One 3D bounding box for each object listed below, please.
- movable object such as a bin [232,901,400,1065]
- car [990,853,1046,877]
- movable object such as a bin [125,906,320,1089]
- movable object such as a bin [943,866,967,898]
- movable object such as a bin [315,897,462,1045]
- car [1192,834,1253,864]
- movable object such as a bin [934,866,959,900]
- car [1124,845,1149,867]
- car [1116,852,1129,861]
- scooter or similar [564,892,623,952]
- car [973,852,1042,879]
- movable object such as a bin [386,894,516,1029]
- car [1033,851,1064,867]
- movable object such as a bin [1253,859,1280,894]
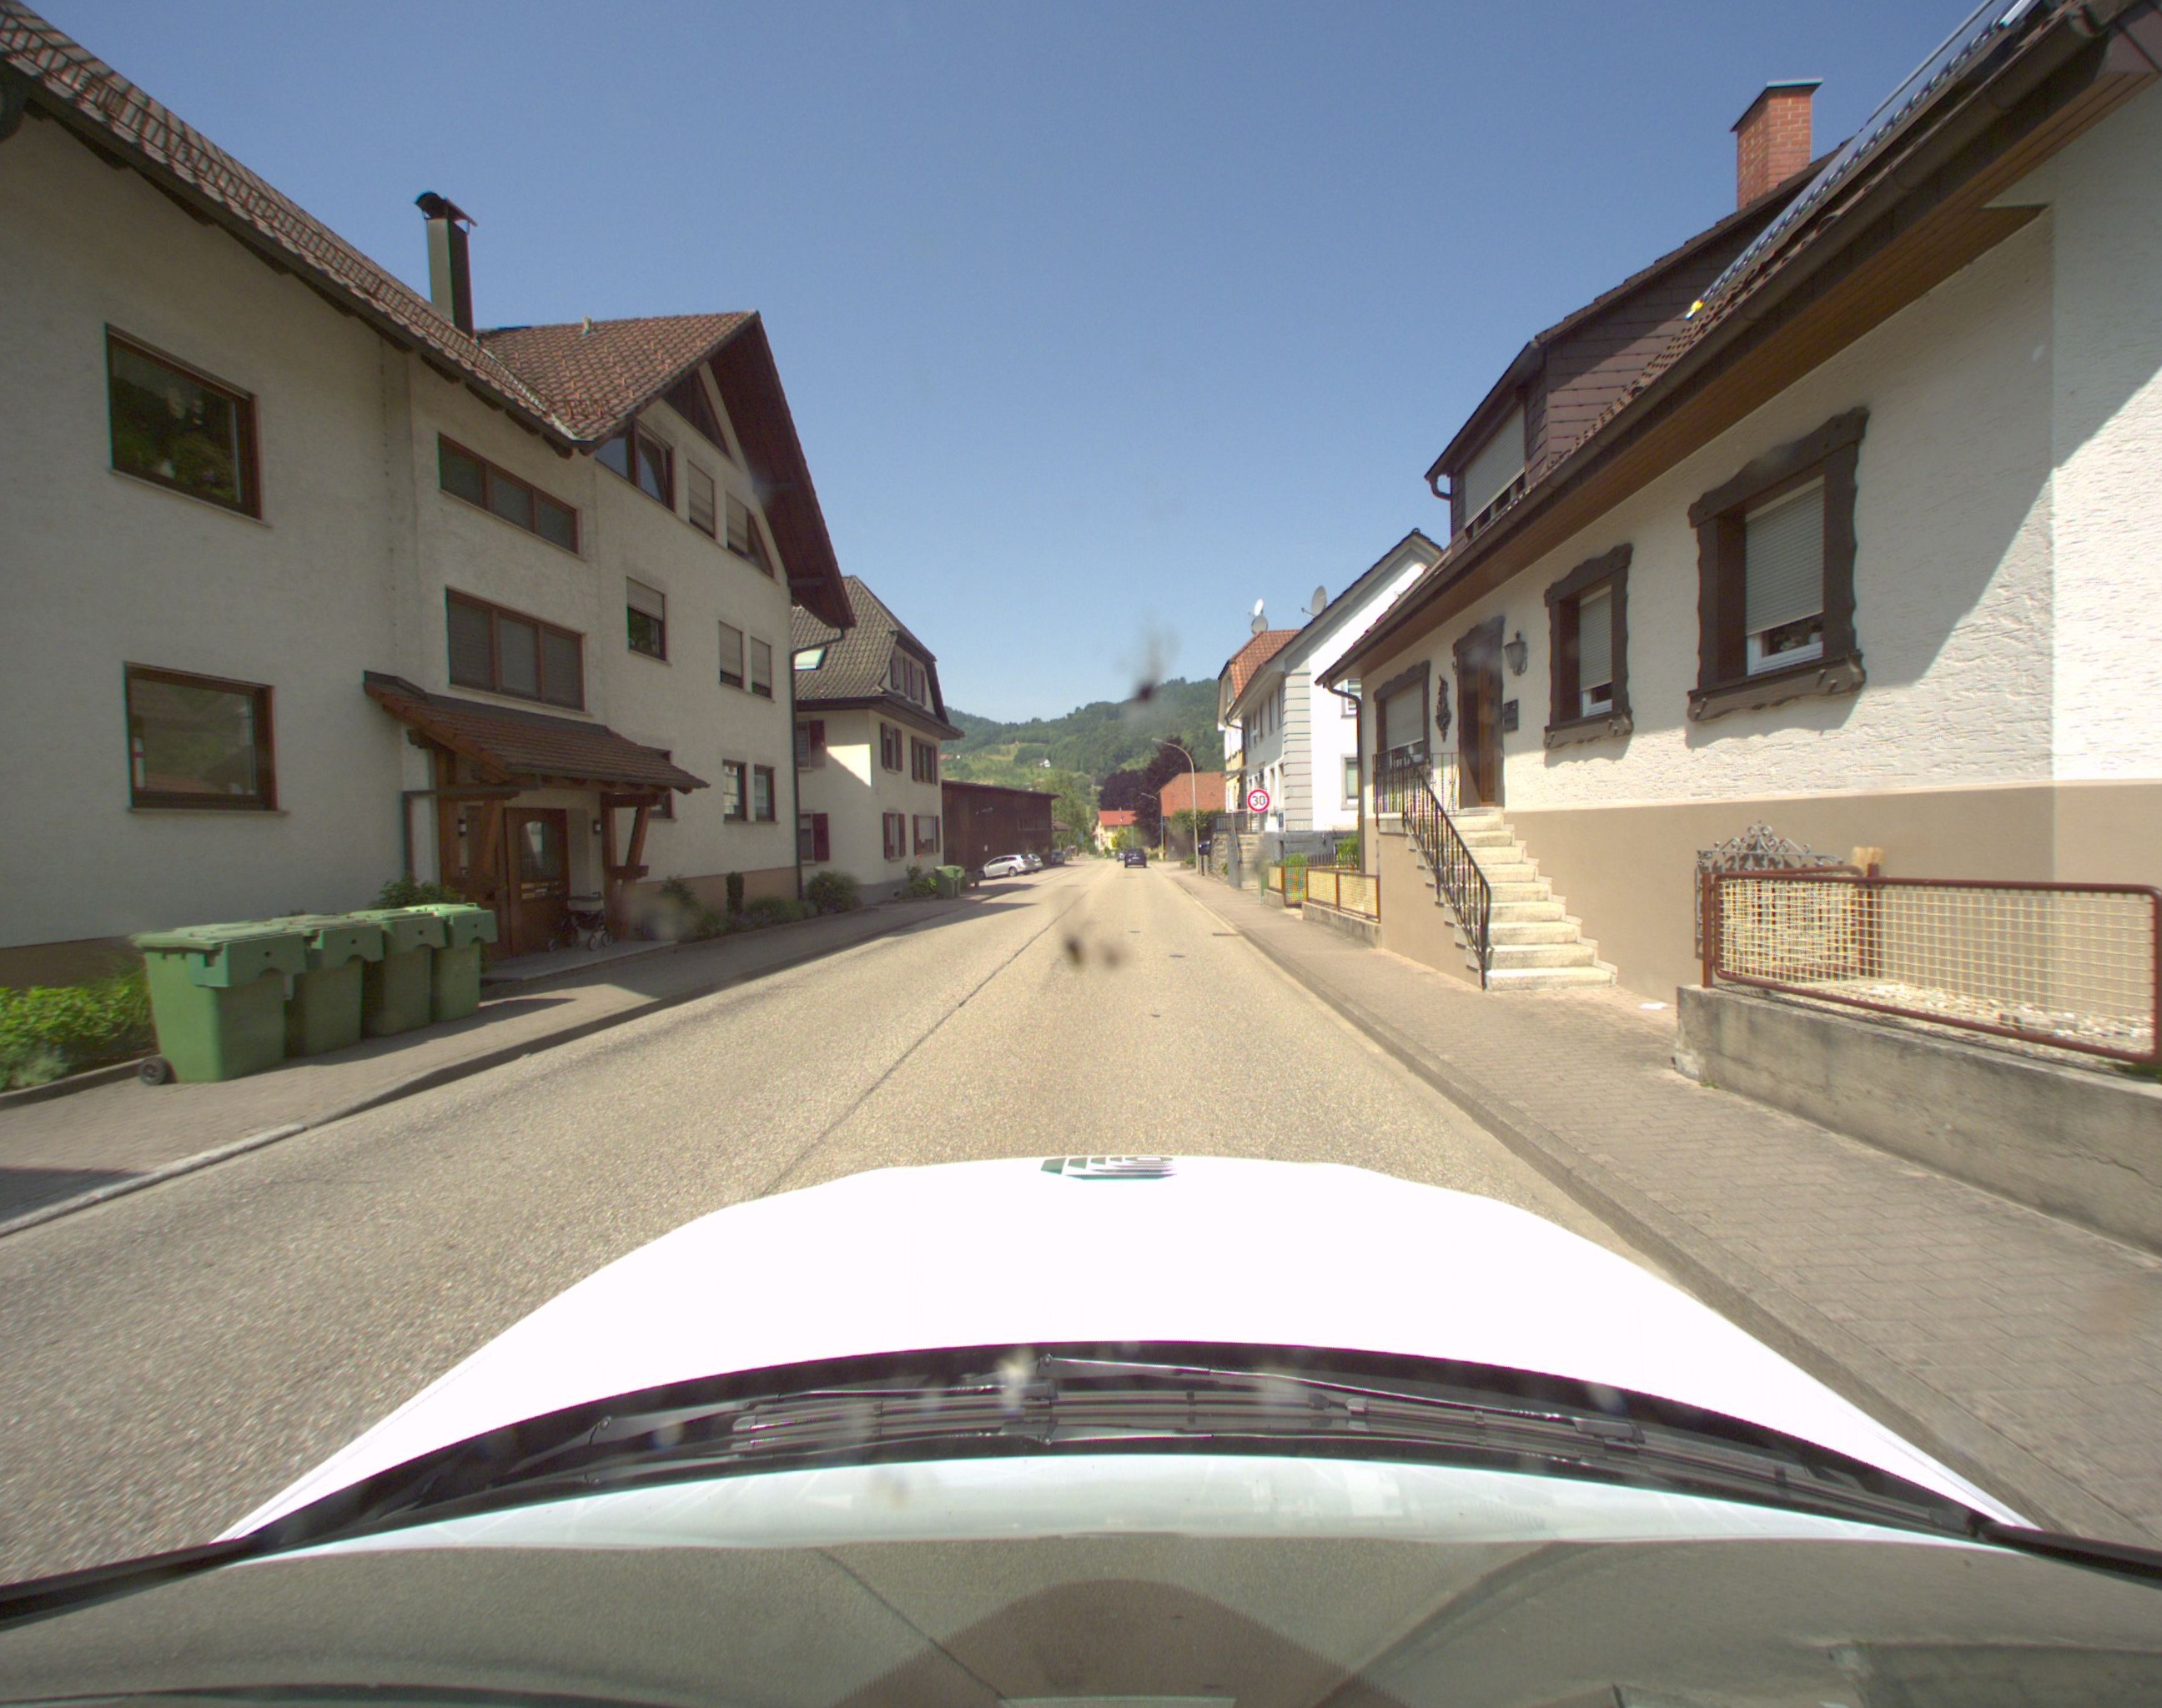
[{"bbox_3d":[-6.132,1.013,6.558,0.714,1.181,0.598,-3,0,4],"label":"movable object such as a bin"},{"bbox_3d":[-4.649,0.804,60.454,3.629,1.385,1.719,-6,-1,18],"label":"car"},{"bbox_3d":[-6.186,1.012,5.900,0.714,1.181,0.598,-3,0,4],"label":"movable object such as a bin"},{"bbox_3d":[-4.319,0.948,27.972,0.673,1.067,0.622,-2,0,1],"label":"movable object such as a bin"},{"bbox_3d":[-6.106,1.014,7.210,0.714,1.181,0.598,-3,0,4],"label":"movable object such as a bin"},{"bbox_3d":[10.409,-0.348,59.993,4.199,1.687,1.780,-6,0,6],"label":"car"},{"bbox_3d":[-4.486,0.965,27.134,0.673,1.067,0.654,-2,0,2],"label":"movable object such as a bin"},{"bbox_3d":[4.523,0.159,67.025,1.911,1.698,3.791,-2,0,3],"label":"car"},{"bbox_3d":[5.731,0.324,112.630,1.473,1.209,2.383,-3,0,-1],"label":"car"},{"bbox_3d":[-7.049,0.976,11.785,0.503,0.826,0.538,-2,-2,2],"label":"scooter or similar"},{"bbox_3d":[-5.219,0.833,57.550,4.387,1.474,1.937,-6,-1,29],"label":"car"},{"bbox_3d":[-6.064,1.015,7.867,0.714,1.181,0.598,-3,0,4],"label":"movable object such as a bin"},{"bbox_3d":[-3.305,0.459,84.236,1.715,1.454,4.827,-1,1,17],"label":"car"},{"bbox_3d":[5.691,0.685,24.993,0.701,1.020,0.618,-2,0,4],"label":"movable object such as a bin"}]
